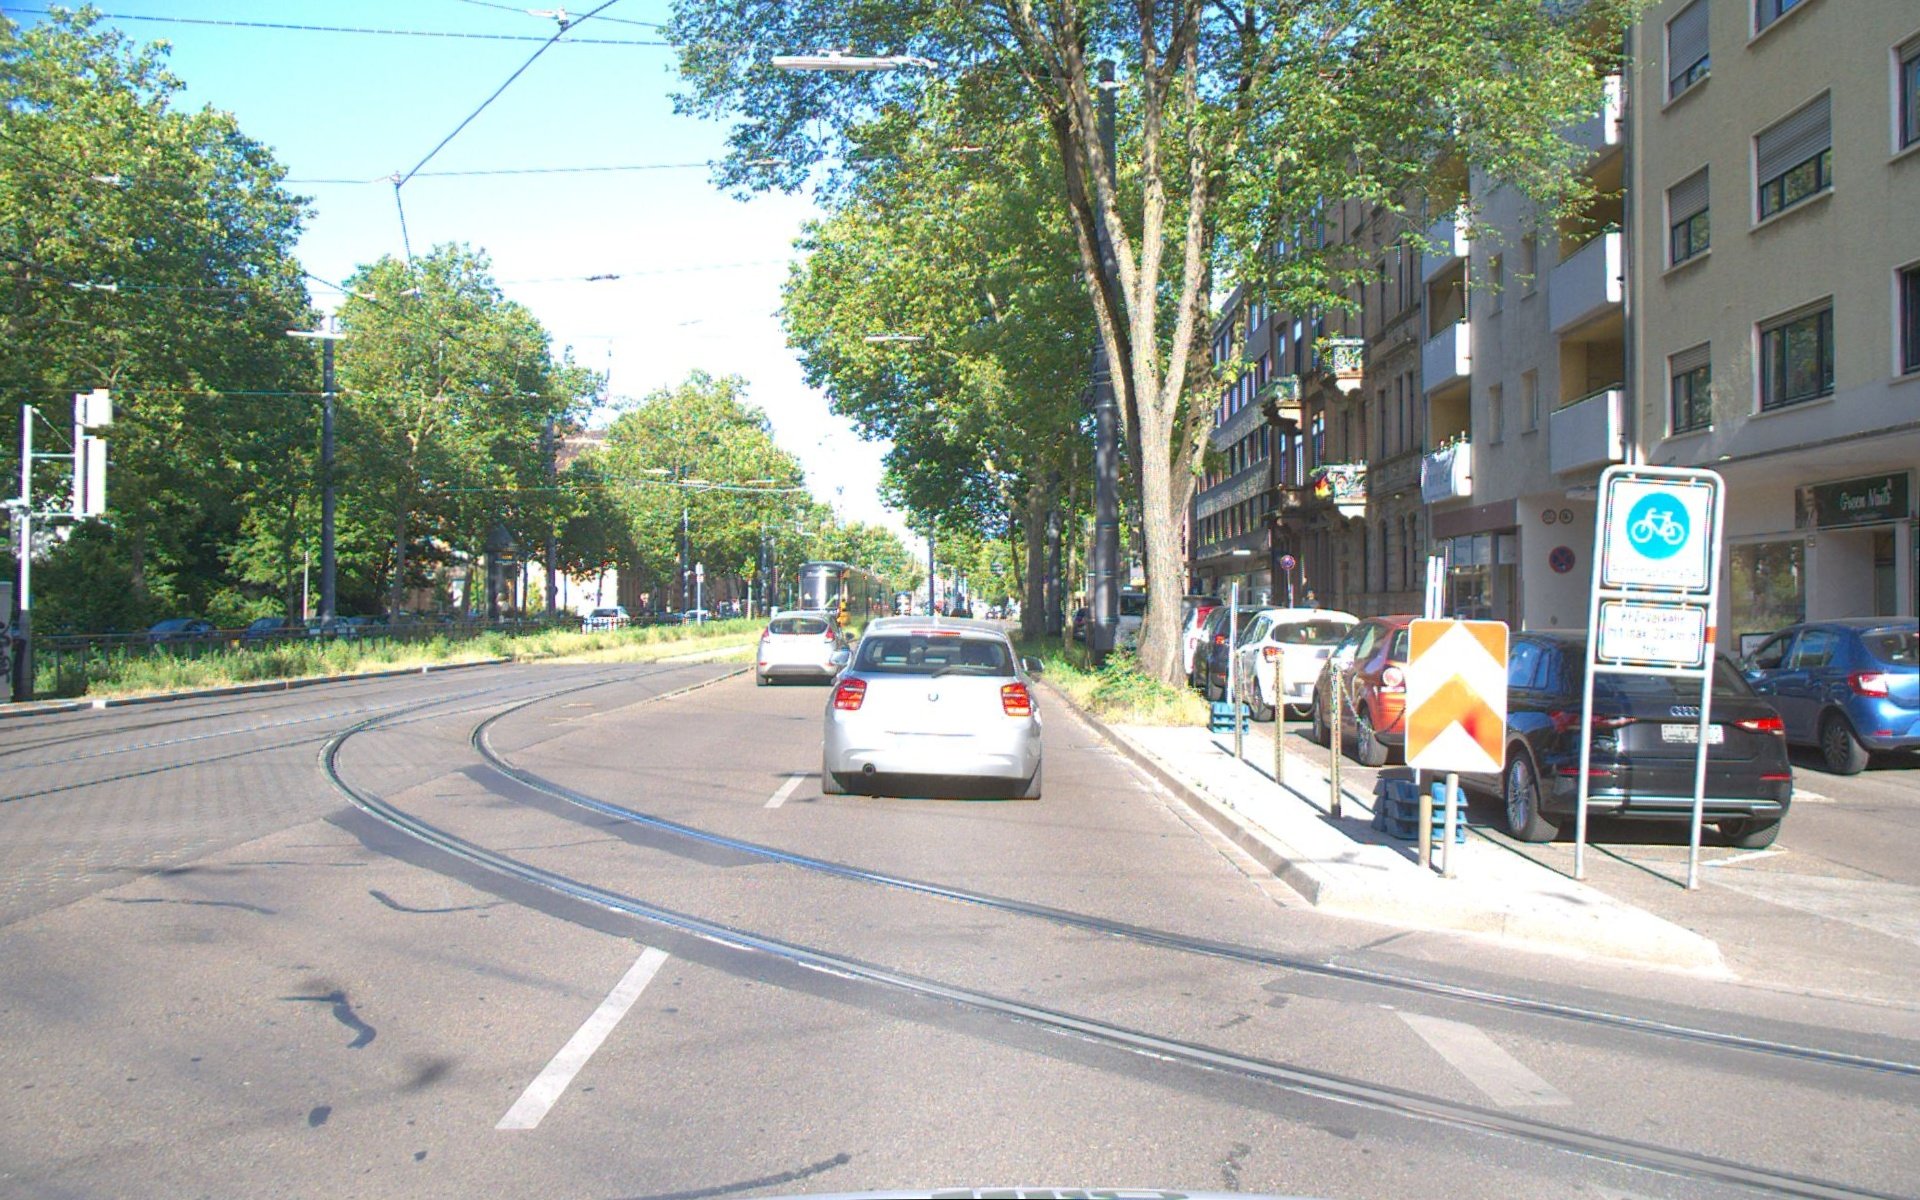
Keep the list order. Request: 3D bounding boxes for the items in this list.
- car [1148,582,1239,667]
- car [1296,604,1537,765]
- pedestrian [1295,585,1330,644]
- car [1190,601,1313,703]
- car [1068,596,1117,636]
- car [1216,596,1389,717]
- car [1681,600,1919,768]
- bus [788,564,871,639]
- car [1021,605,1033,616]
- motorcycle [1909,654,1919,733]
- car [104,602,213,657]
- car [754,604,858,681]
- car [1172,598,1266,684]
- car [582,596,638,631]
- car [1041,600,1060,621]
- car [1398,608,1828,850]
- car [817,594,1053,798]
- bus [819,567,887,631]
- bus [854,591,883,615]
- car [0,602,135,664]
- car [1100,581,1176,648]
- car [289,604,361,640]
[{"bbox_3d":[5.031,0.494,36.052,1.591,1.697,4.143,2,0,3],"label":"car"},{"bbox_3d":[4.800,0.821,17.916,1.556,1.459,3.906,2,0,1],"label":"car"},{"bbox_3d":[11.464,0.461,53.828,0.979,1.872,0.715,1,0,3],"label":"pedestrian"},{"bbox_3d":[4.800,0.805,27.666,1.529,1.511,3.788,2,0,3],"label":"car"},{"bbox_3d":[5.415,0.657,67.976,1.768,1.516,4.921,2,0,2],"label":"car"},{"bbox_3d":[4.771,0.734,23.509,1.593,1.502,3.697,2,0,-1],"label":"car"},{"bbox_3d":[9.712,0.820,18.206,1.659,1.506,3.999,-3,1,-1],"label":"car"},{"bbox_3d":[-6.442,0.065,83.938,2.809,3.504,13.219,0,0,1],"label":"bus"},{"bbox_3d":[9.800,1.573,243.705,1.665,1.561,3.717,2,0,1],"label":"car"},{"bbox_3d":[11.434,1.095,18.568,0.476,0.911,1.873,-3,0,1],"label":"motorcycle"},{"bbox_3d":[-27.463,0.983,56.804,1.784,1.713,4.000,2,0,0],"label":"car"},{"bbox_3d":[-3.044,0.819,33.409,1.612,1.386,3.760,2,0,1],"label":"car"},{"bbox_3d":[4.958,0.750,31.998,1.480,1.506,3.493,2,0,4],"label":"car"},{"bbox_3d":[-17.820,0.660,84.428,1.847,1.648,4.598,2,0,0],"label":"car"},{"bbox_3d":[8.926,0.982,162.952,1.718,1.999,4.738,0,0,1],"label":"car"},{"bbox_3d":[4.741,0.841,12.702,1.661,1.446,4.170,2,0,1],"label":"car"},{"bbox_3d":[-0.167,0.709,14.292,1.726,1.457,4.000,1,0,0],"label":"car"},{"bbox_3d":[-6.111,-0.041,96.455,2.809,3.504,12.217,0,0,1],"label":"bus"},{"bbox_3d":[-14.667,0.385,267.484,2.809,3.692,24.607,0,0,1],"label":"bus"},{"bbox_3d":[-27.642,0.982,51.256,1.953,1.713,4.513,2,0,-2],"label":"car"},{"bbox_3d":[5.211,0.386,48.933,1.826,1.847,4.801,2,0,2],"label":"car"},{"bbox_3d":[-26.268,0.895,68.478,1.535,1.335,3.504,2,0,1],"label":"car"}]
